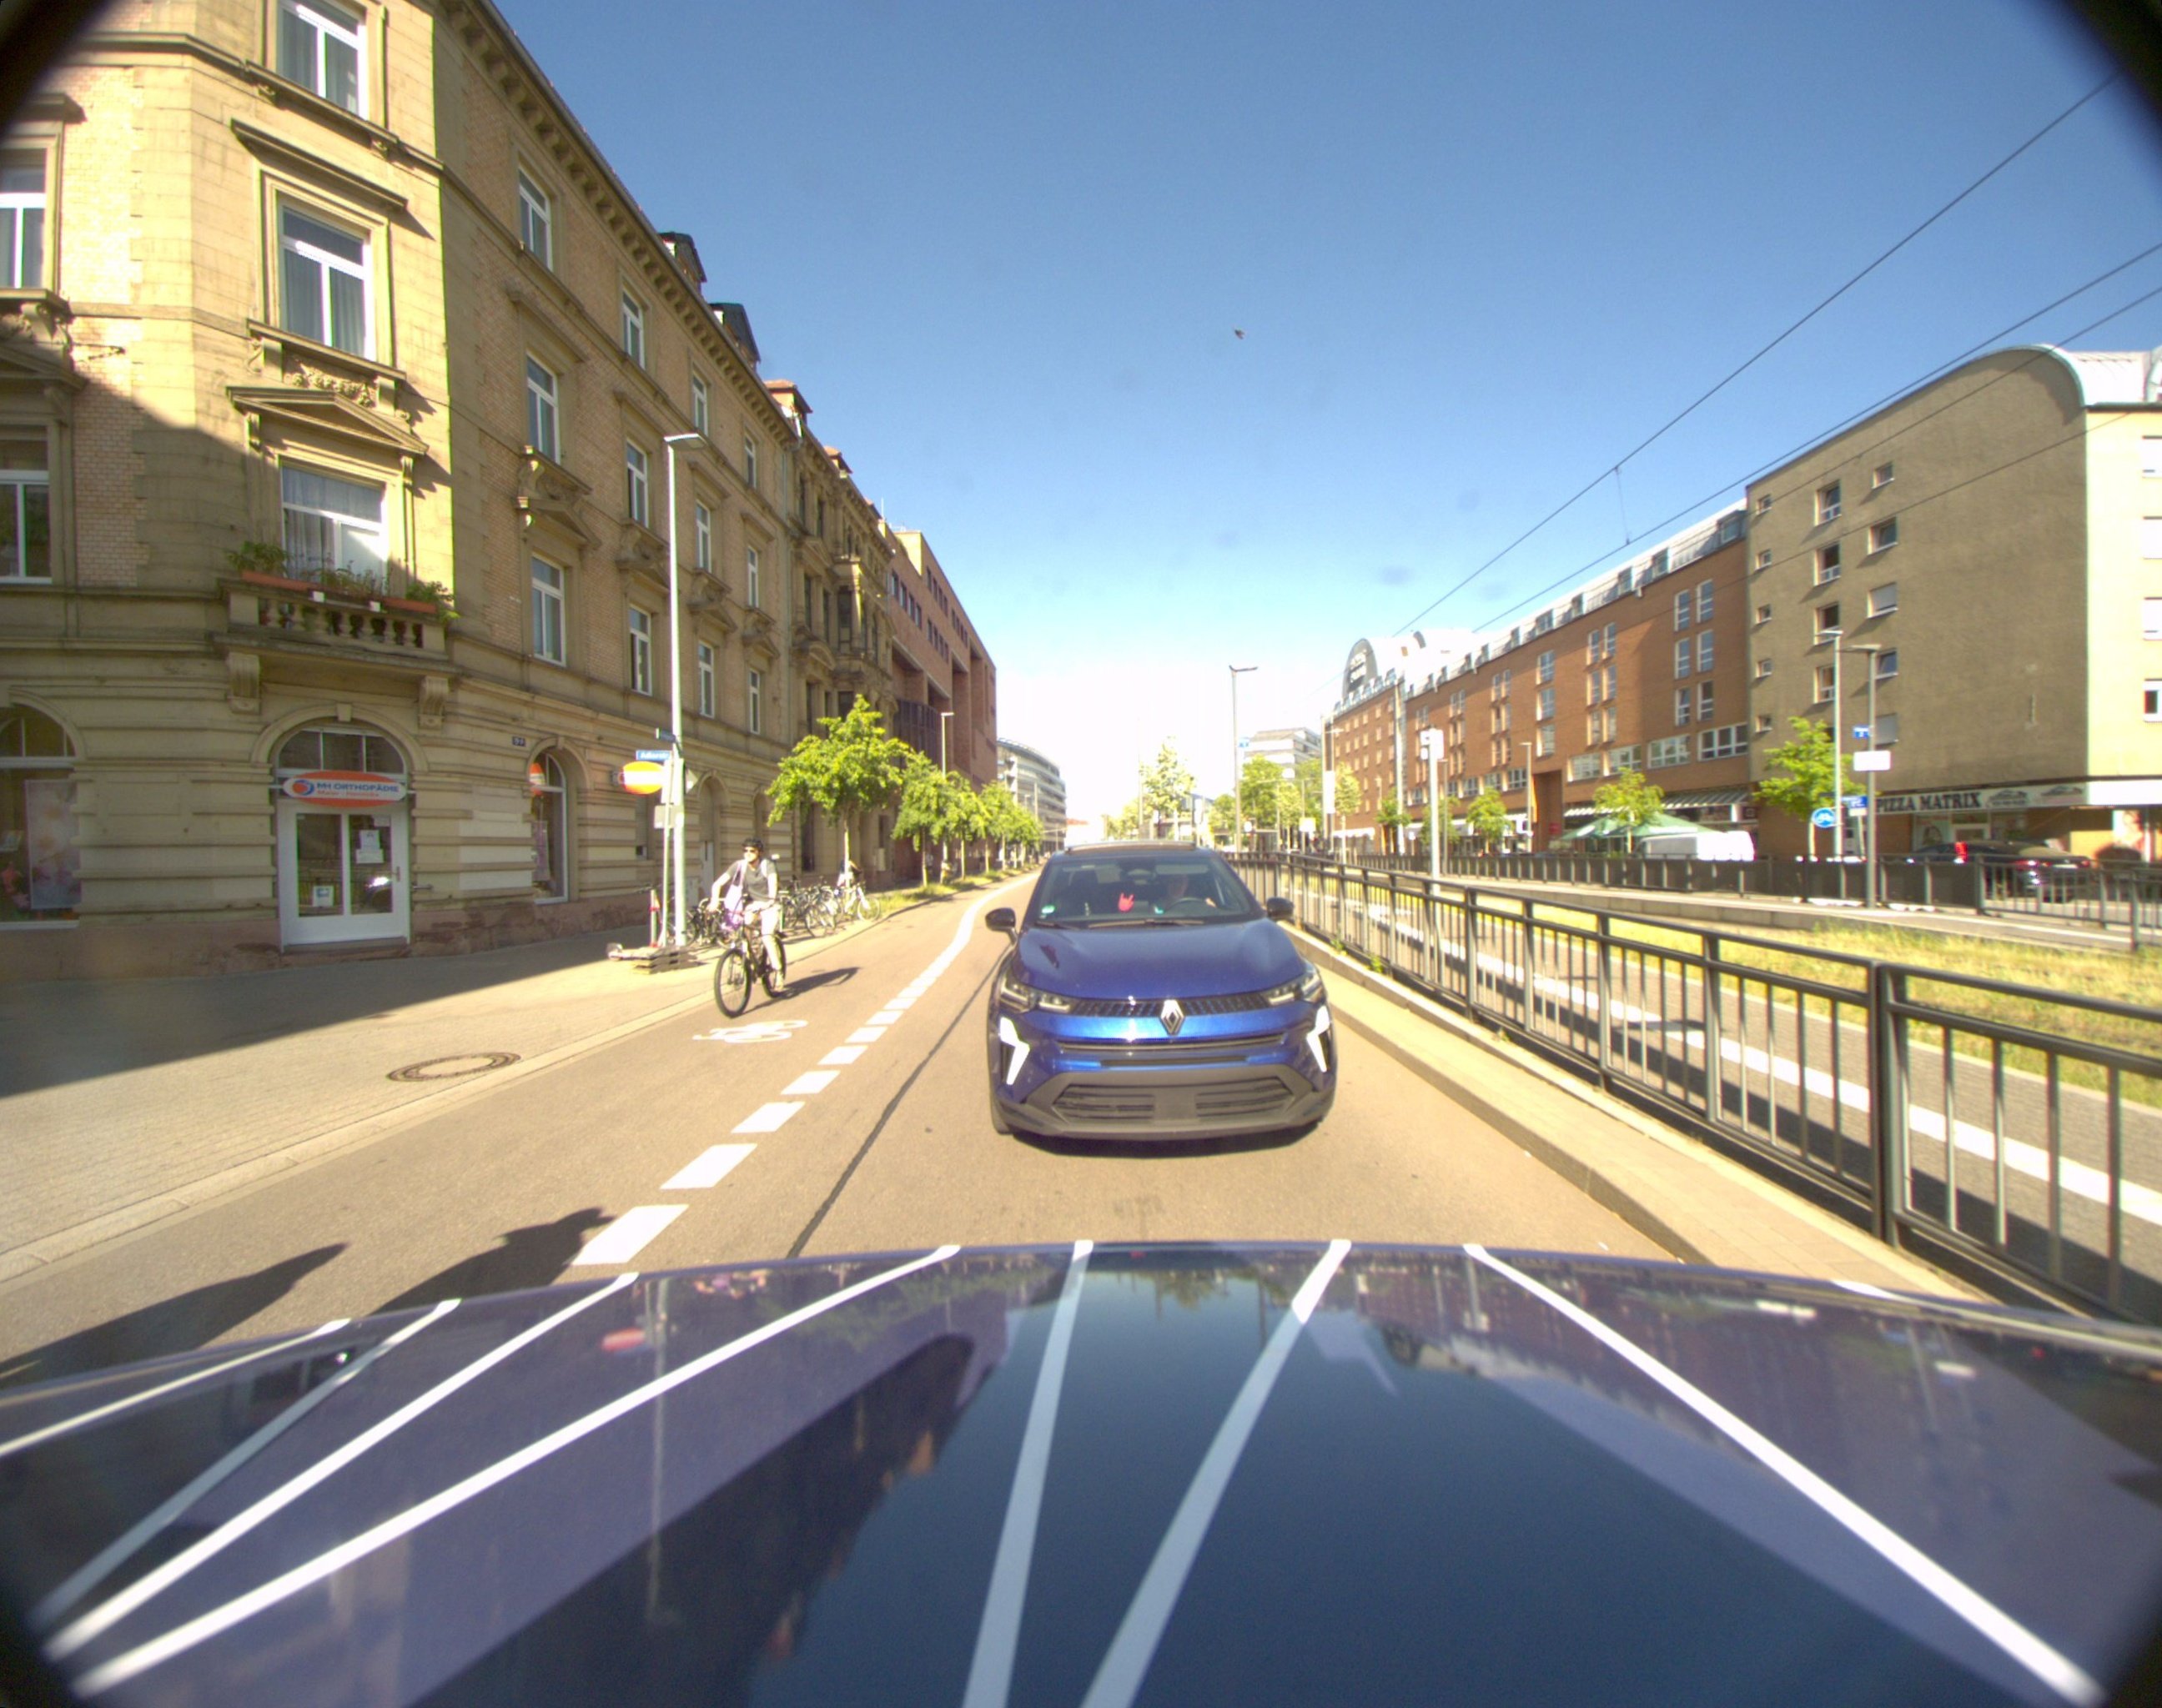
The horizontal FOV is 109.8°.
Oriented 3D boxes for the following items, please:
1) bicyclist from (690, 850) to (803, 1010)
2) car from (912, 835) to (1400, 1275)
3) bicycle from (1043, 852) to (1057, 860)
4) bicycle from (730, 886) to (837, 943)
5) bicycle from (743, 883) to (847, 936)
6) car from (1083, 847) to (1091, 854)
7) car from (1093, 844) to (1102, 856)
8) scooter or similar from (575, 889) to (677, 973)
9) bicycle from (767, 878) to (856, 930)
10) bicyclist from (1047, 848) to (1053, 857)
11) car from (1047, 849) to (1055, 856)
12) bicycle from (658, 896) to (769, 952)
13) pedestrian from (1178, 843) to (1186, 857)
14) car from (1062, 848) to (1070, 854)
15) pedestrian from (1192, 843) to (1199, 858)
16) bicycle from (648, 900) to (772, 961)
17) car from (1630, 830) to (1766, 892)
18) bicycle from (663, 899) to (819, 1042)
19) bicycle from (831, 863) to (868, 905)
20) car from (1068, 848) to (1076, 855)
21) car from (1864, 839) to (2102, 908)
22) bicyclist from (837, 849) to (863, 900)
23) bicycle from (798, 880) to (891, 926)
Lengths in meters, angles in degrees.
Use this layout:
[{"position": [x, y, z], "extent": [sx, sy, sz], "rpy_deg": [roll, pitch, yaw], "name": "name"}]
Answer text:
[{"position": [-3.565, 0.772, 8.179], "extent": [0.725, 1.595, 0.895], "rpy_deg": [-2, 1, 1], "name": "bicyclist"}, {"position": [0.318, 0.751, 5.100], "extent": [1.758, 1.576, 4.420], "rpy_deg": [-4, 1, 1], "name": "car"}, {"position": [-4.961, 0.294, 122.100], "extent": [2.275, 1.118, 0.850], "rpy_deg": [-2, 1, -3], "name": "bicycle"}, {"position": [-5.916, 1.199, 15.166], "extent": [1.876, 1.043, 0.608], "rpy_deg": [1, 1, -4], "name": "bicycle"}, {"position": [-6.249, 1.203, 16.680], "extent": [1.903, 1.025, 1.030], "rpy_deg": [1, 1, -2], "name": "bicycle"}, {"position": [1.448, -0.714, 172.921], "extent": [1.745, 1.543, 4.000], "rpy_deg": [-1, 1, 1], "name": "car"}, {"position": [3.448, -0.800, 159.459], "extent": [1.758, 2.472, 4.610], "rpy_deg": [-1, 1, 1], "name": "car"}, {"position": [-6.831, 1.143, 11.440], "extent": [1.199, 1.191, 0.487], "rpy_deg": [-1, 1, -4], "name": "scooter or similar"}, {"position": [-6.288, 1.166, 17.826], "extent": [1.678, 1.056, 1.134], "rpy_deg": [2, 1, -1], "name": "bicycle"}, {"position": [-5.002, -0.190, 122.078], "extent": [0.859, 1.413, 0.839], "rpy_deg": [-2, 1, -3], "name": "bicyclist"}, {"position": [-6.919, -0.423, 174.899], "extent": [1.745, 1.543, 3.999], "rpy_deg": [-1, 1, 0], "name": "car"}, {"position": [-6.560, 1.244, 13.589], "extent": [1.717, 0.920, 0.497], "rpy_deg": [-1, 2, 1], "name": "bicycle"}, {"position": [13.981, -0.542, 105.153], "extent": [0.743, 1.878, 0.600], "rpy_deg": [-2, 1, -40], "name": "pedestrian"}, {"position": [-3.727, -0.781, 190.126], "extent": [1.745, 1.543, 4.000], "rpy_deg": [-1, 1, 1], "name": "car"}, {"position": [15.214, -0.452, 101.087], "extent": [0.821, 1.878, 0.769], "rpy_deg": [-1, 1, 5], "name": "pedestrian"}, {"position": [-6.311, 1.288, 12.956], "extent": [1.905, 0.906, 0.592], "rpy_deg": [1, 2, 9], "name": "bicycle"}, {"position": [25.365, 0.195, 31.530], "extent": [1.997, 2.284, 5.191], "rpy_deg": [-2, 1, 9], "name": "car"}, {"position": [-3.551, 1.160, 8.160], "extent": [0.725, 1.187, 1.952], "rpy_deg": [-2, 1, 1], "name": "bicycle"}, {"position": [-7.477, 0.936, 24.597], "extent": [0.579, 1.246, 2.097], "rpy_deg": [-1, 1, -2], "name": "bicycle"}, {"position": [-2.100, -0.599, 174.126], "extent": [1.745, 1.543, 4.000], "rpy_deg": [-1, 1, 1], "name": "car"}, {"position": [24.235, 0.443, 20.668], "extent": [1.699, 1.631, 3.998], "rpy_deg": [-2, 1, -1], "name": "car"}, {"position": [-7.474, 0.650, 24.570], "extent": [0.579, 1.608, 0.794], "rpy_deg": [-1, 2, -2], "name": "bicyclist"}, {"position": [-5.959, 1.217, 19.228], "extent": [2.062, 1.036, 0.847], "rpy_deg": [2, 2, 0], "name": "bicycle"}]
